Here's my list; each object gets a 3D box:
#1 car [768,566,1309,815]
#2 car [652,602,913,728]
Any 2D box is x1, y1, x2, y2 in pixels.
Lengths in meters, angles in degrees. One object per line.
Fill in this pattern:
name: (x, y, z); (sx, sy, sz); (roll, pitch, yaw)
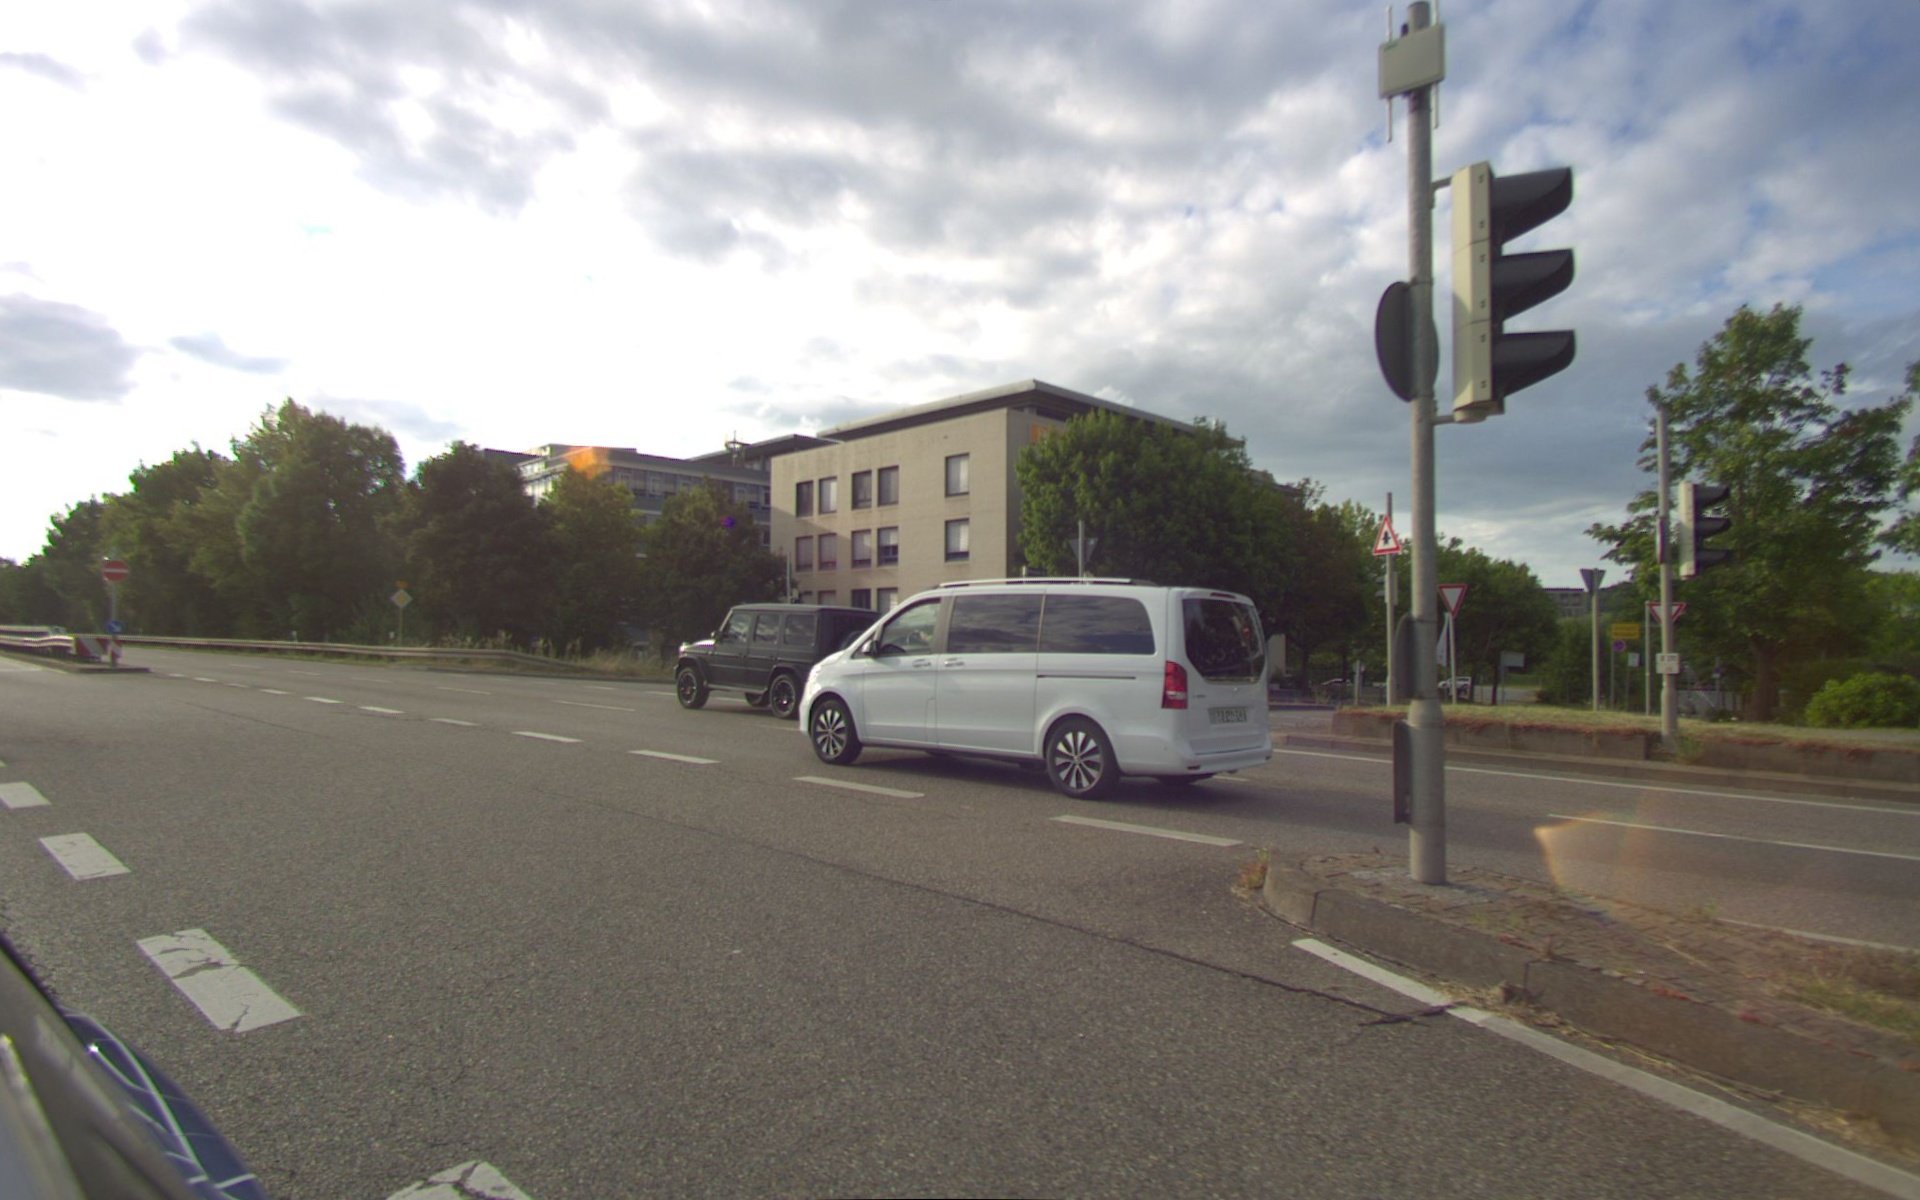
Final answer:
car: (0.530, 0.757, 10.199); (5.344, 1.886, 1.914); (-1, -3, 41)
car: (-3.373, 1.109, 18.577); (5.088, 2.005, 1.914); (-1, -3, 41)
